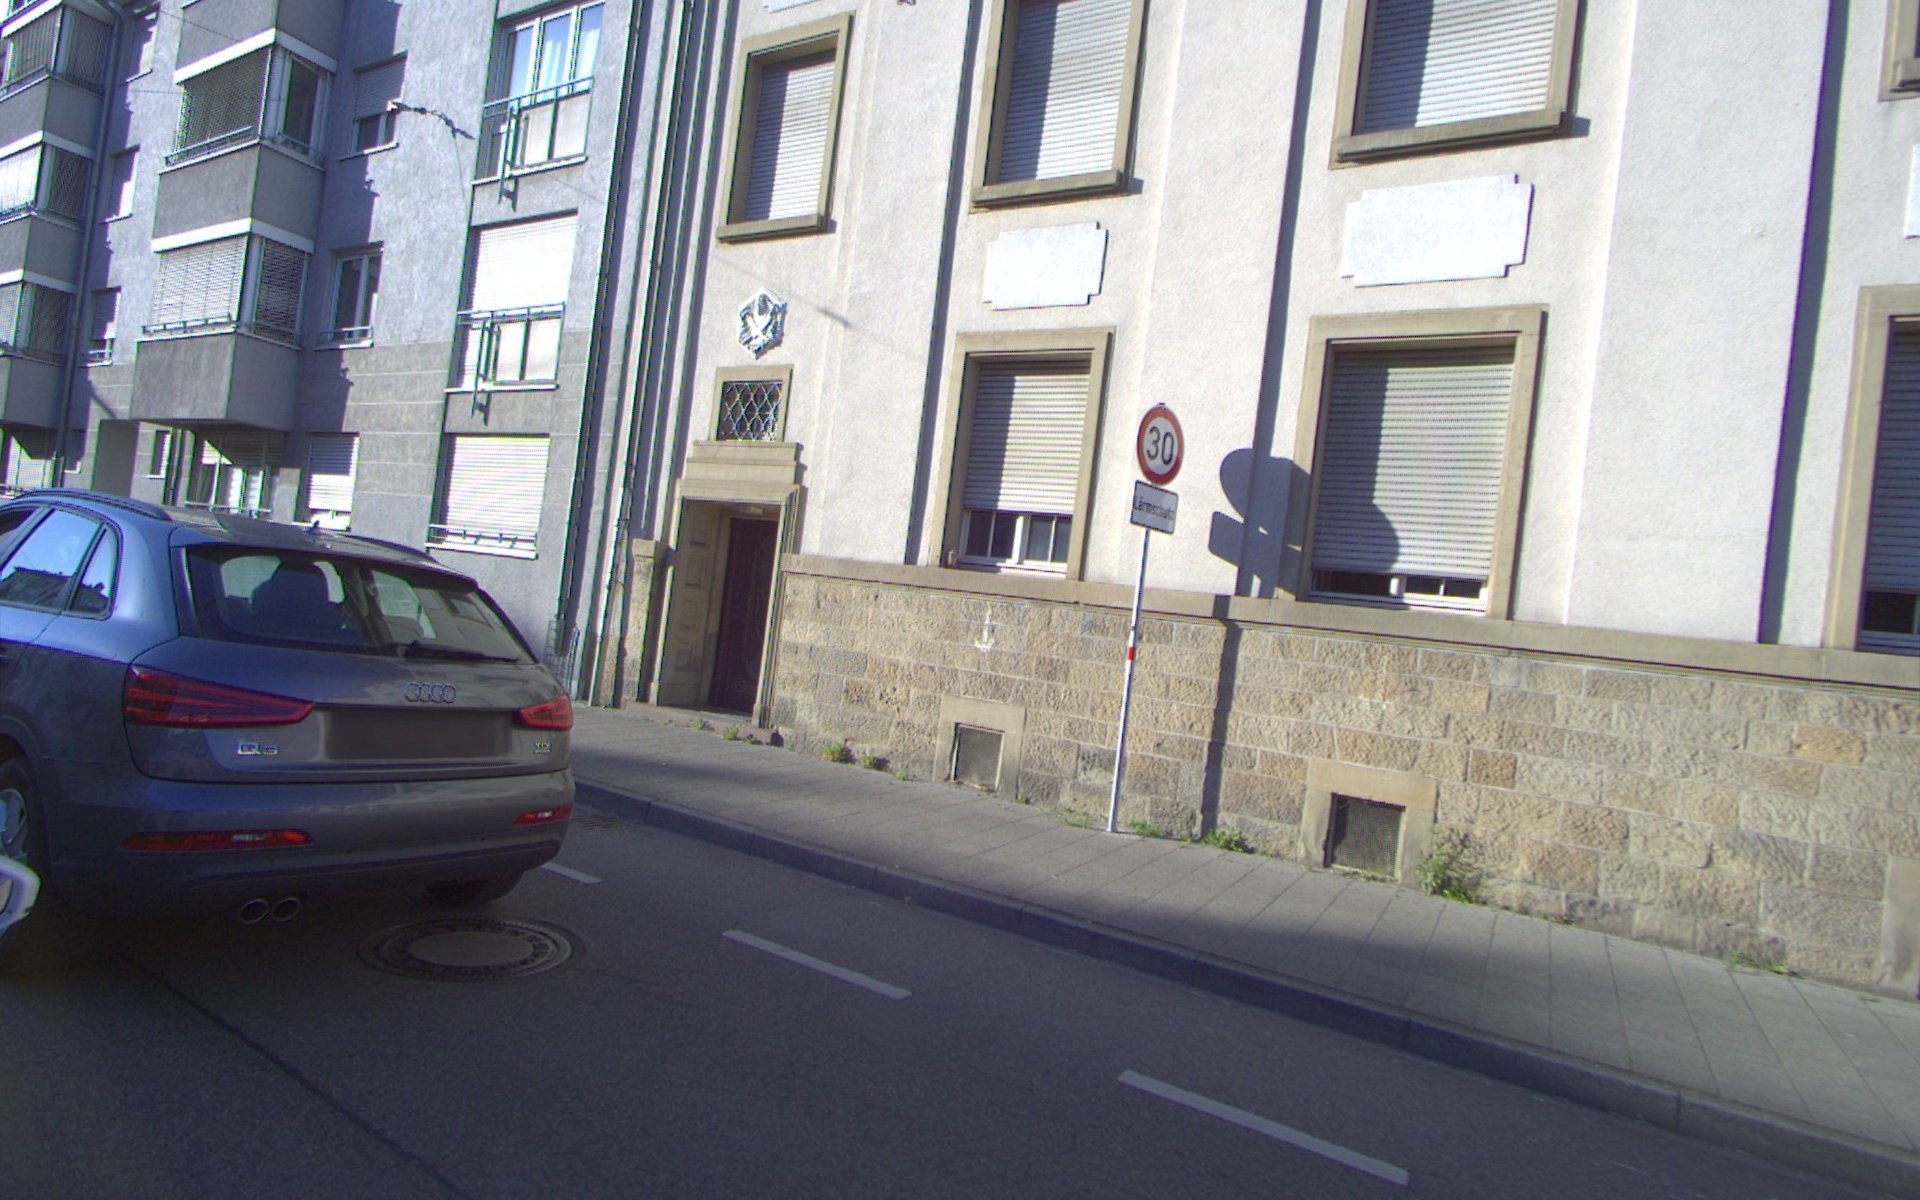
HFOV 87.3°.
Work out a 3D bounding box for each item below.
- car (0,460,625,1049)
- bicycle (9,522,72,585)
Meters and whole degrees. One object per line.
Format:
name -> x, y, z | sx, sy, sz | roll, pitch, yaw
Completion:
car -> -3.661, 0.355, 4.502 | 4.156, 1.570, 1.701 | 5, -3, 32
bicycle -> -17.866, -0.908, 19.536 | 1.478, 1.109, 0.384 | 6, -1, 30
